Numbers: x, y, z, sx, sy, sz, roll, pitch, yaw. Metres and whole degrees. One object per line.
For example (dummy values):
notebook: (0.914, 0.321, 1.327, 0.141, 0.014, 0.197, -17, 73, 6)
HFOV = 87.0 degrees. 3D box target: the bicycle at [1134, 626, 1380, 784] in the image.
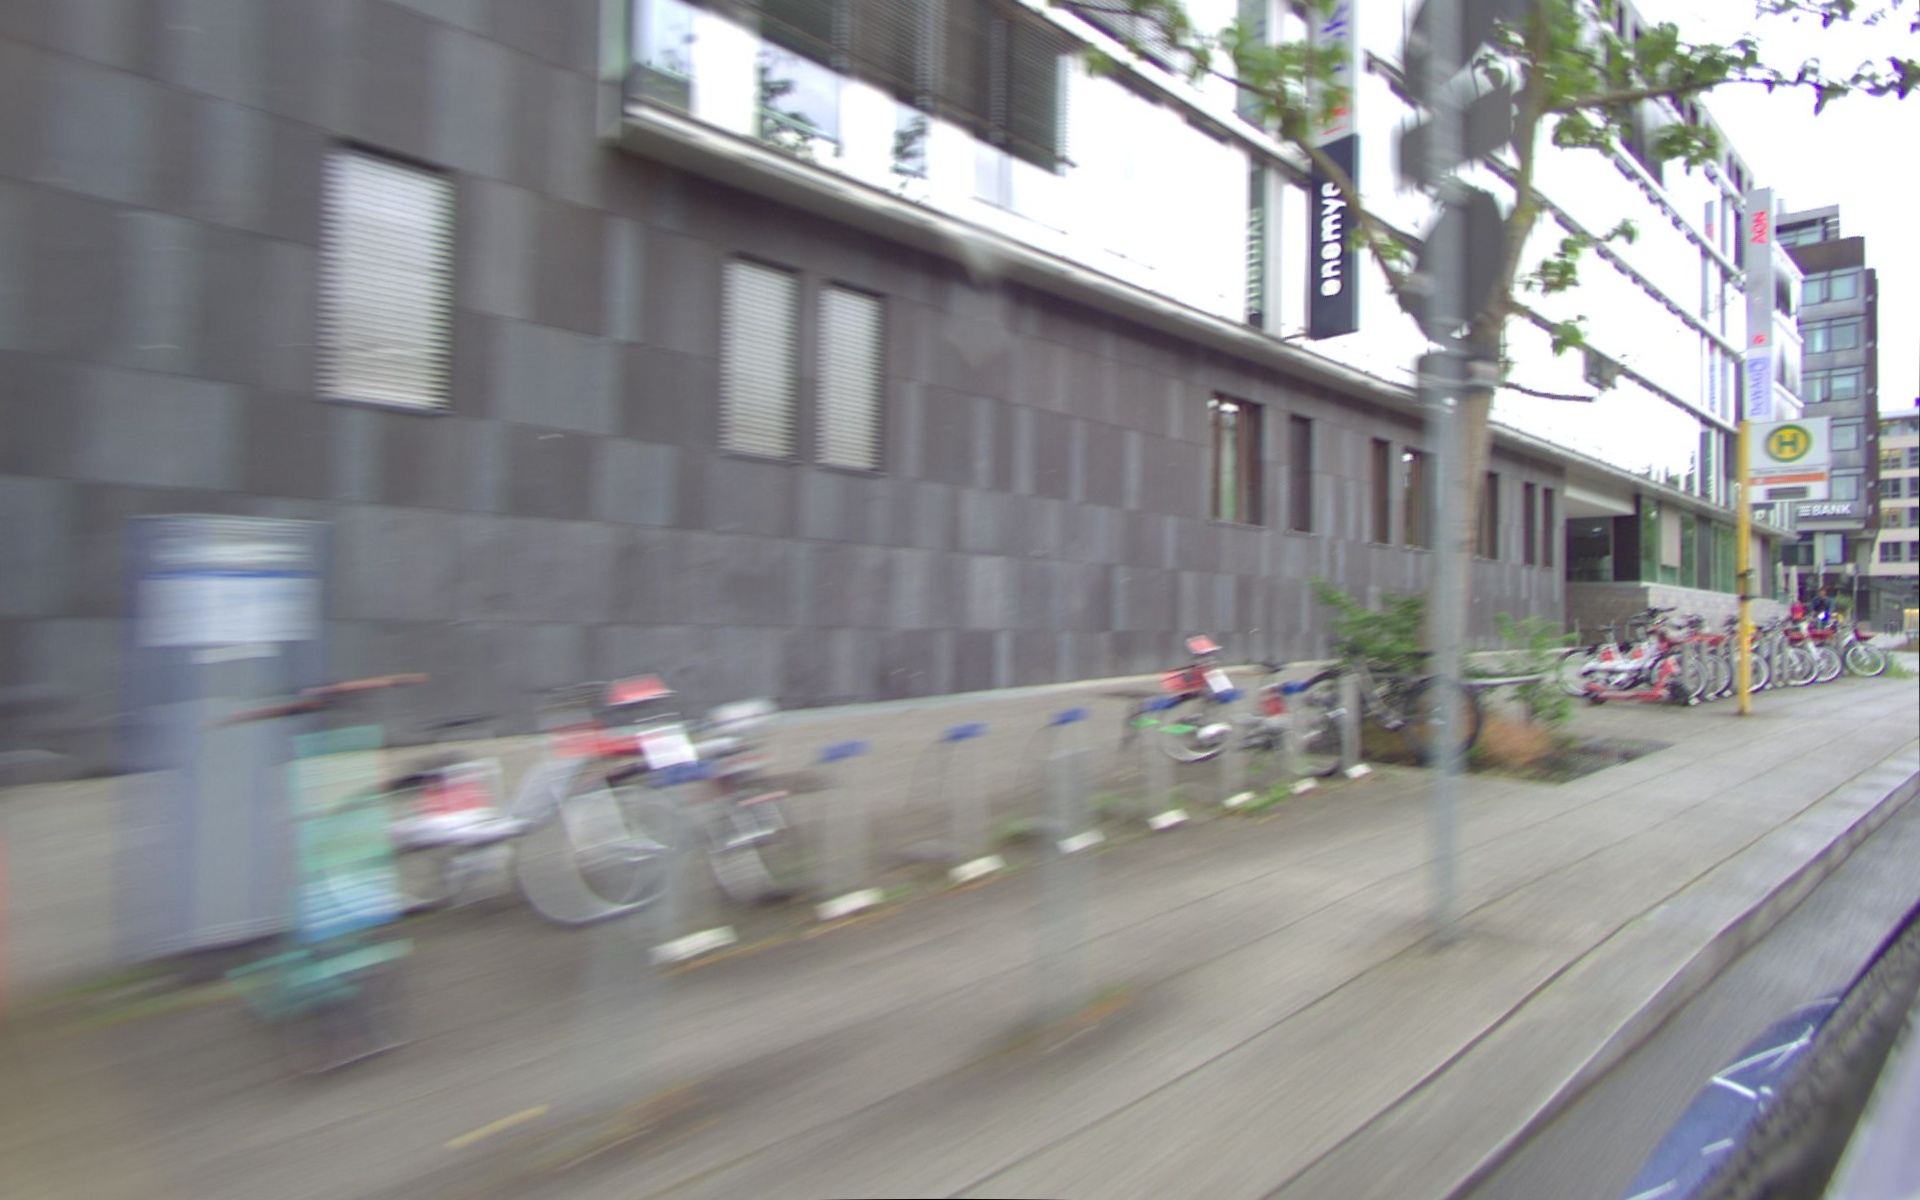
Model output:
bicycle: (2.358, 0.791, 8.214, 1.794, 1.122, 0.659, -3, -1, 45)

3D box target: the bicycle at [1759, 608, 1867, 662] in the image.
bicycle: (18.217, 0.733, 21.632, 1.730, 1.083, 0.678, 1, 0, 44)

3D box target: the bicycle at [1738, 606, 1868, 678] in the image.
bicycle: (14.931, 0.711, 17.957, 1.730, 1.198, 0.678, 1, 0, 44)

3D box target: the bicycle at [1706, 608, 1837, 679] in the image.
bicycle: (14.125, 0.724, 17.644, 1.730, 1.154, 0.678, 1, 0, 44)

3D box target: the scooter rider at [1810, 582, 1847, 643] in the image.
scooter rider: (29.629, 0.409, 34.540, 0.907, 2.047, 0.780, 1, -1, -37)

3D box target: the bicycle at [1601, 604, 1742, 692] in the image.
bicycle: (9.989, 0.648, 14.235, 1.534, 1.154, 0.678, -1, 0, 44)

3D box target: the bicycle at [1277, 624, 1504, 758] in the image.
bicycle: (3.859, 0.781, 9.188, 0.547, 1.082, 1.795, -1, -1, -44)

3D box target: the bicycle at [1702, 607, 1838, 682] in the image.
bicycle: (13.541, 0.715, 16.956, 1.730, 1.154, 0.678, 1, 0, 44)

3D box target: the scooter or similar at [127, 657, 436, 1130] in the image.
scooter or similar: (-2.522, 0.861, 3.663, 0.586, 1.259, 1.792, -1, -1, -45)

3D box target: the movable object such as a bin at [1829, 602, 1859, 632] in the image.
movable object such as a bin: (39.783, 0.746, 45.518, 1.757, 1.281, 0.804, 0, 1, -42)

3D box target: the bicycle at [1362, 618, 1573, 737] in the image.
bicycle: (5.052, 0.745, 10.169, 0.547, 1.082, 1.795, -1, -1, -44)

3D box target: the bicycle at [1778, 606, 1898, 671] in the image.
bicycle: (17.086, 0.720, 19.712, 1.730, 1.198, 0.678, 1, 0, 44)

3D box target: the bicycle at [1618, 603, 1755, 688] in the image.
bicycle: (10.540, 0.634, 14.716, 1.534, 1.154, 0.678, -1, 0, 44)

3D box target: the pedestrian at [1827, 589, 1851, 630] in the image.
pedestrian: (40.480, 0.447, 46.620, 0.734, 1.853, 0.723, 0, 1, -42)

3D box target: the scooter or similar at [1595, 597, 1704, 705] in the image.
scooter or similar: (8.437, 0.603, 12.408, 1.060, 1.274, 0.298, -1, 0, 44)

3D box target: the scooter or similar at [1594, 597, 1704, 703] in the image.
scooter or similar: (8.644, 0.610, 12.716, 1.105, 1.274, 0.298, -1, 0, 44)

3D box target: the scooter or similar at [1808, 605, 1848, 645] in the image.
scooter or similar: (29.630, 0.828, 34.539, 1.310, 1.322, 0.780, 1, -1, -37)

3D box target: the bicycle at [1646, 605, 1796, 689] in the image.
bicycle: (11.259, 0.663, 15.007, 1.706, 1.154, 0.678, 0, 0, 44)

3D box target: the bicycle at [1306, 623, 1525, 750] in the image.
bicycle: (4.275, 0.778, 9.604, 0.547, 1.082, 1.795, -1, -1, -44)

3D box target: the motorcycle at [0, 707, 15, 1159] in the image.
motorcycle: (-3.381, 0.939, 3.146, 0.586, 1.154, 1.792, -1, -1, -45)

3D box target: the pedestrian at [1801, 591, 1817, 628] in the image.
pedestrian: (39.783, 0.442, 47.431, 0.569, 1.720, 0.484, 0, 1, -42)

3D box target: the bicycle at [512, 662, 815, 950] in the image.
bicycle: (-1.544, 0.904, 5.061, 1.794, 1.122, 0.659, -3, -1, 45)

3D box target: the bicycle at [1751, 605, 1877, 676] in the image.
bicycle: (15.614, 0.712, 18.530, 1.730, 1.198, 0.678, 1, 0, 44)

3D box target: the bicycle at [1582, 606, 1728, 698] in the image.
bicycle: (9.350, 0.664, 13.653, 1.534, 1.154, 0.652, -1, 0, 44)

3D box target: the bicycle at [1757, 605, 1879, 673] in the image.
bicycle: (16.187, 0.713, 19.121, 1.730, 1.198, 0.678, 1, 0, 44)
